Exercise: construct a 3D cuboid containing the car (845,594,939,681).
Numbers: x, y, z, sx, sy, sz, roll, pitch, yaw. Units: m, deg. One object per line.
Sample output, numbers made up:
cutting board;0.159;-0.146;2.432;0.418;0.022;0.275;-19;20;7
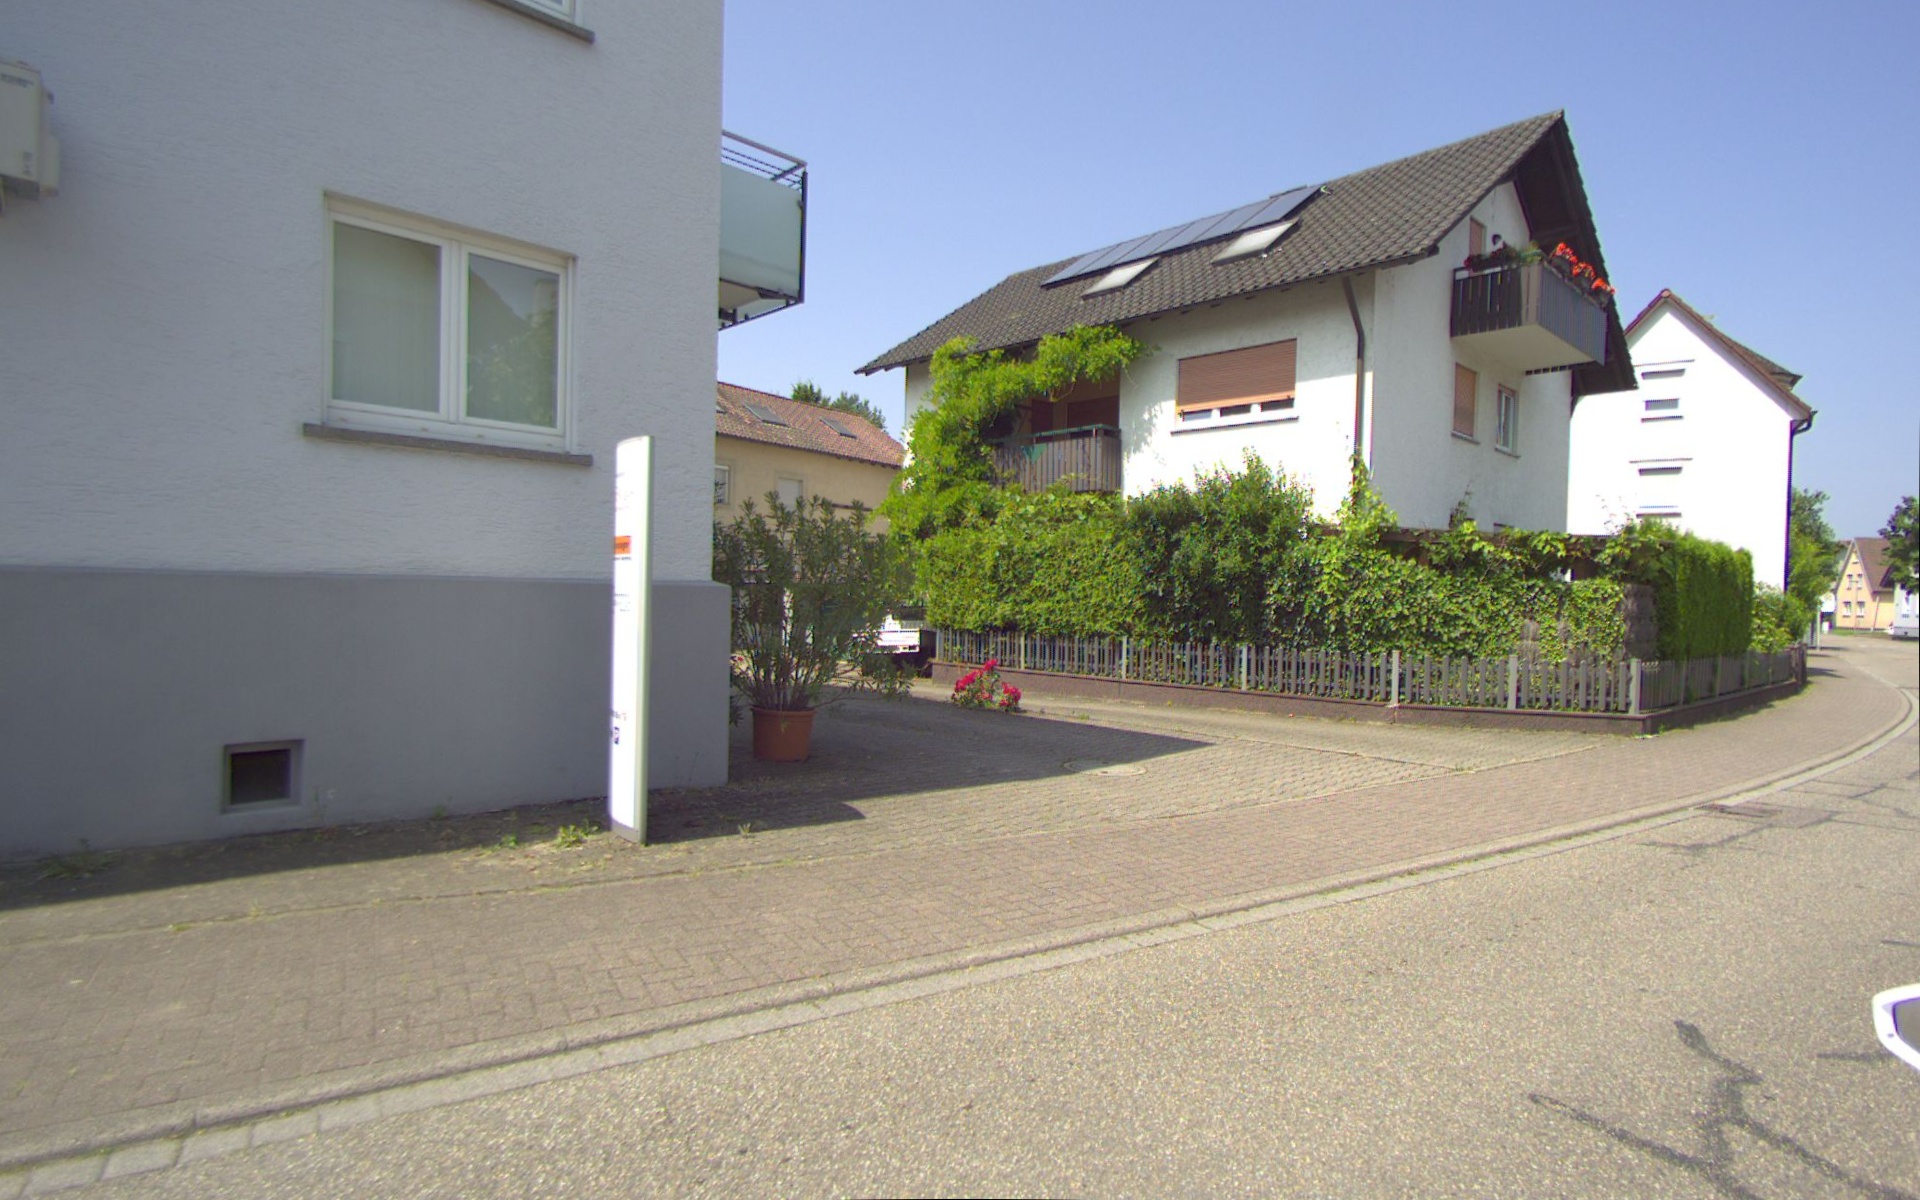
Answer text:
car;-1.437;0.856;22.911;1.695;1.779;4.675;1;-2;1
